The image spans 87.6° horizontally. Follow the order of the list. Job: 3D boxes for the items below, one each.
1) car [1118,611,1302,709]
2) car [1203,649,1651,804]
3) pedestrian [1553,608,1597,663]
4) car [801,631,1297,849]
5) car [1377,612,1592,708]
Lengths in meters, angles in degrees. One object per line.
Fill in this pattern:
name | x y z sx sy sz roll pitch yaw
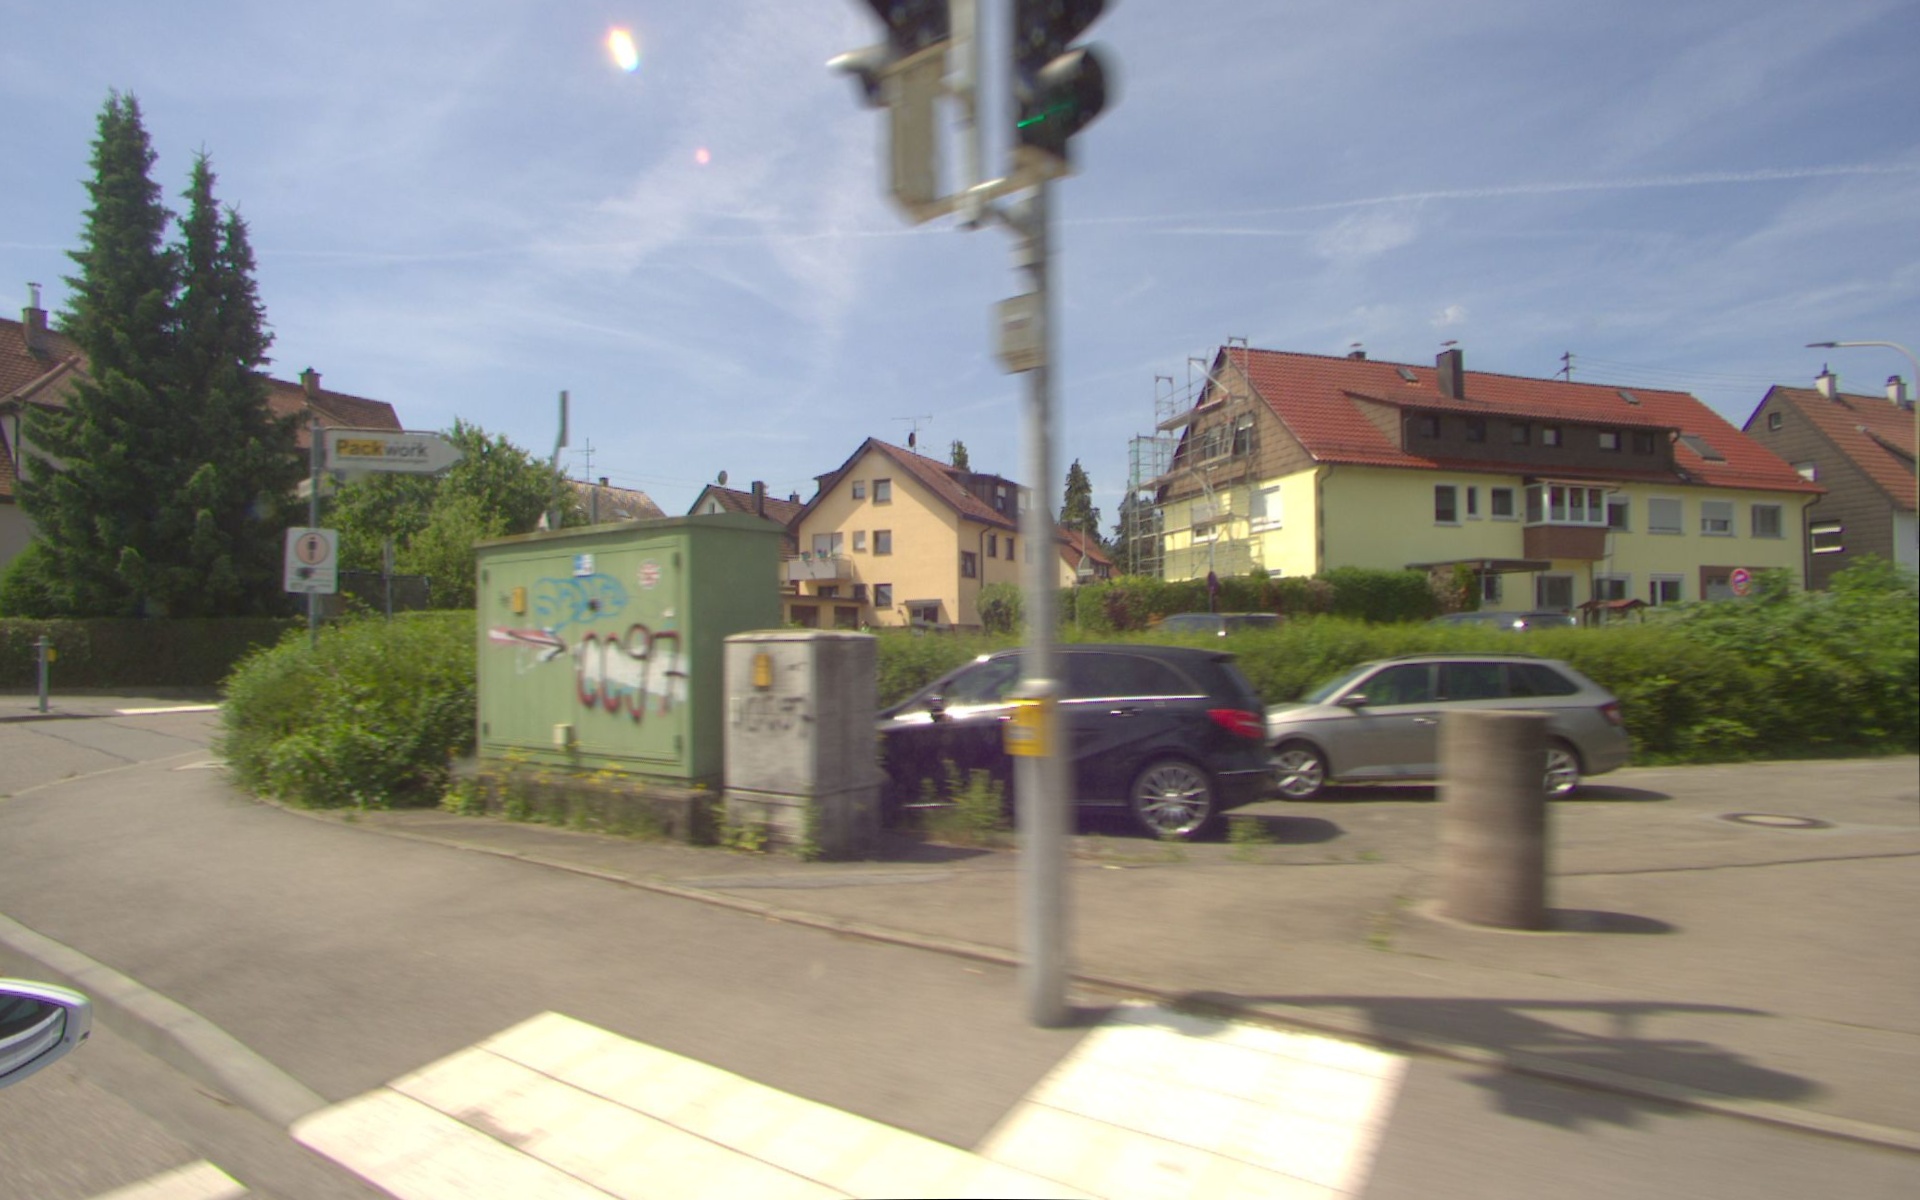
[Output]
car | 3.982 0.929 16.678 1.374 1.416 4.283 0 -2 -10
car | 4.778 1.341 10.780 4.007 1.484 1.626 -2 -4 8
pedestrian | 18.238 1.052 29.701 0.785 1.626 0.779 0 -1 -14
car | 0.789 1.182 8.770 3.996 1.569 1.714 -3 -5 21
car | 9.044 0.976 17.575 1.392 1.504 3.429 0 -1 -15
